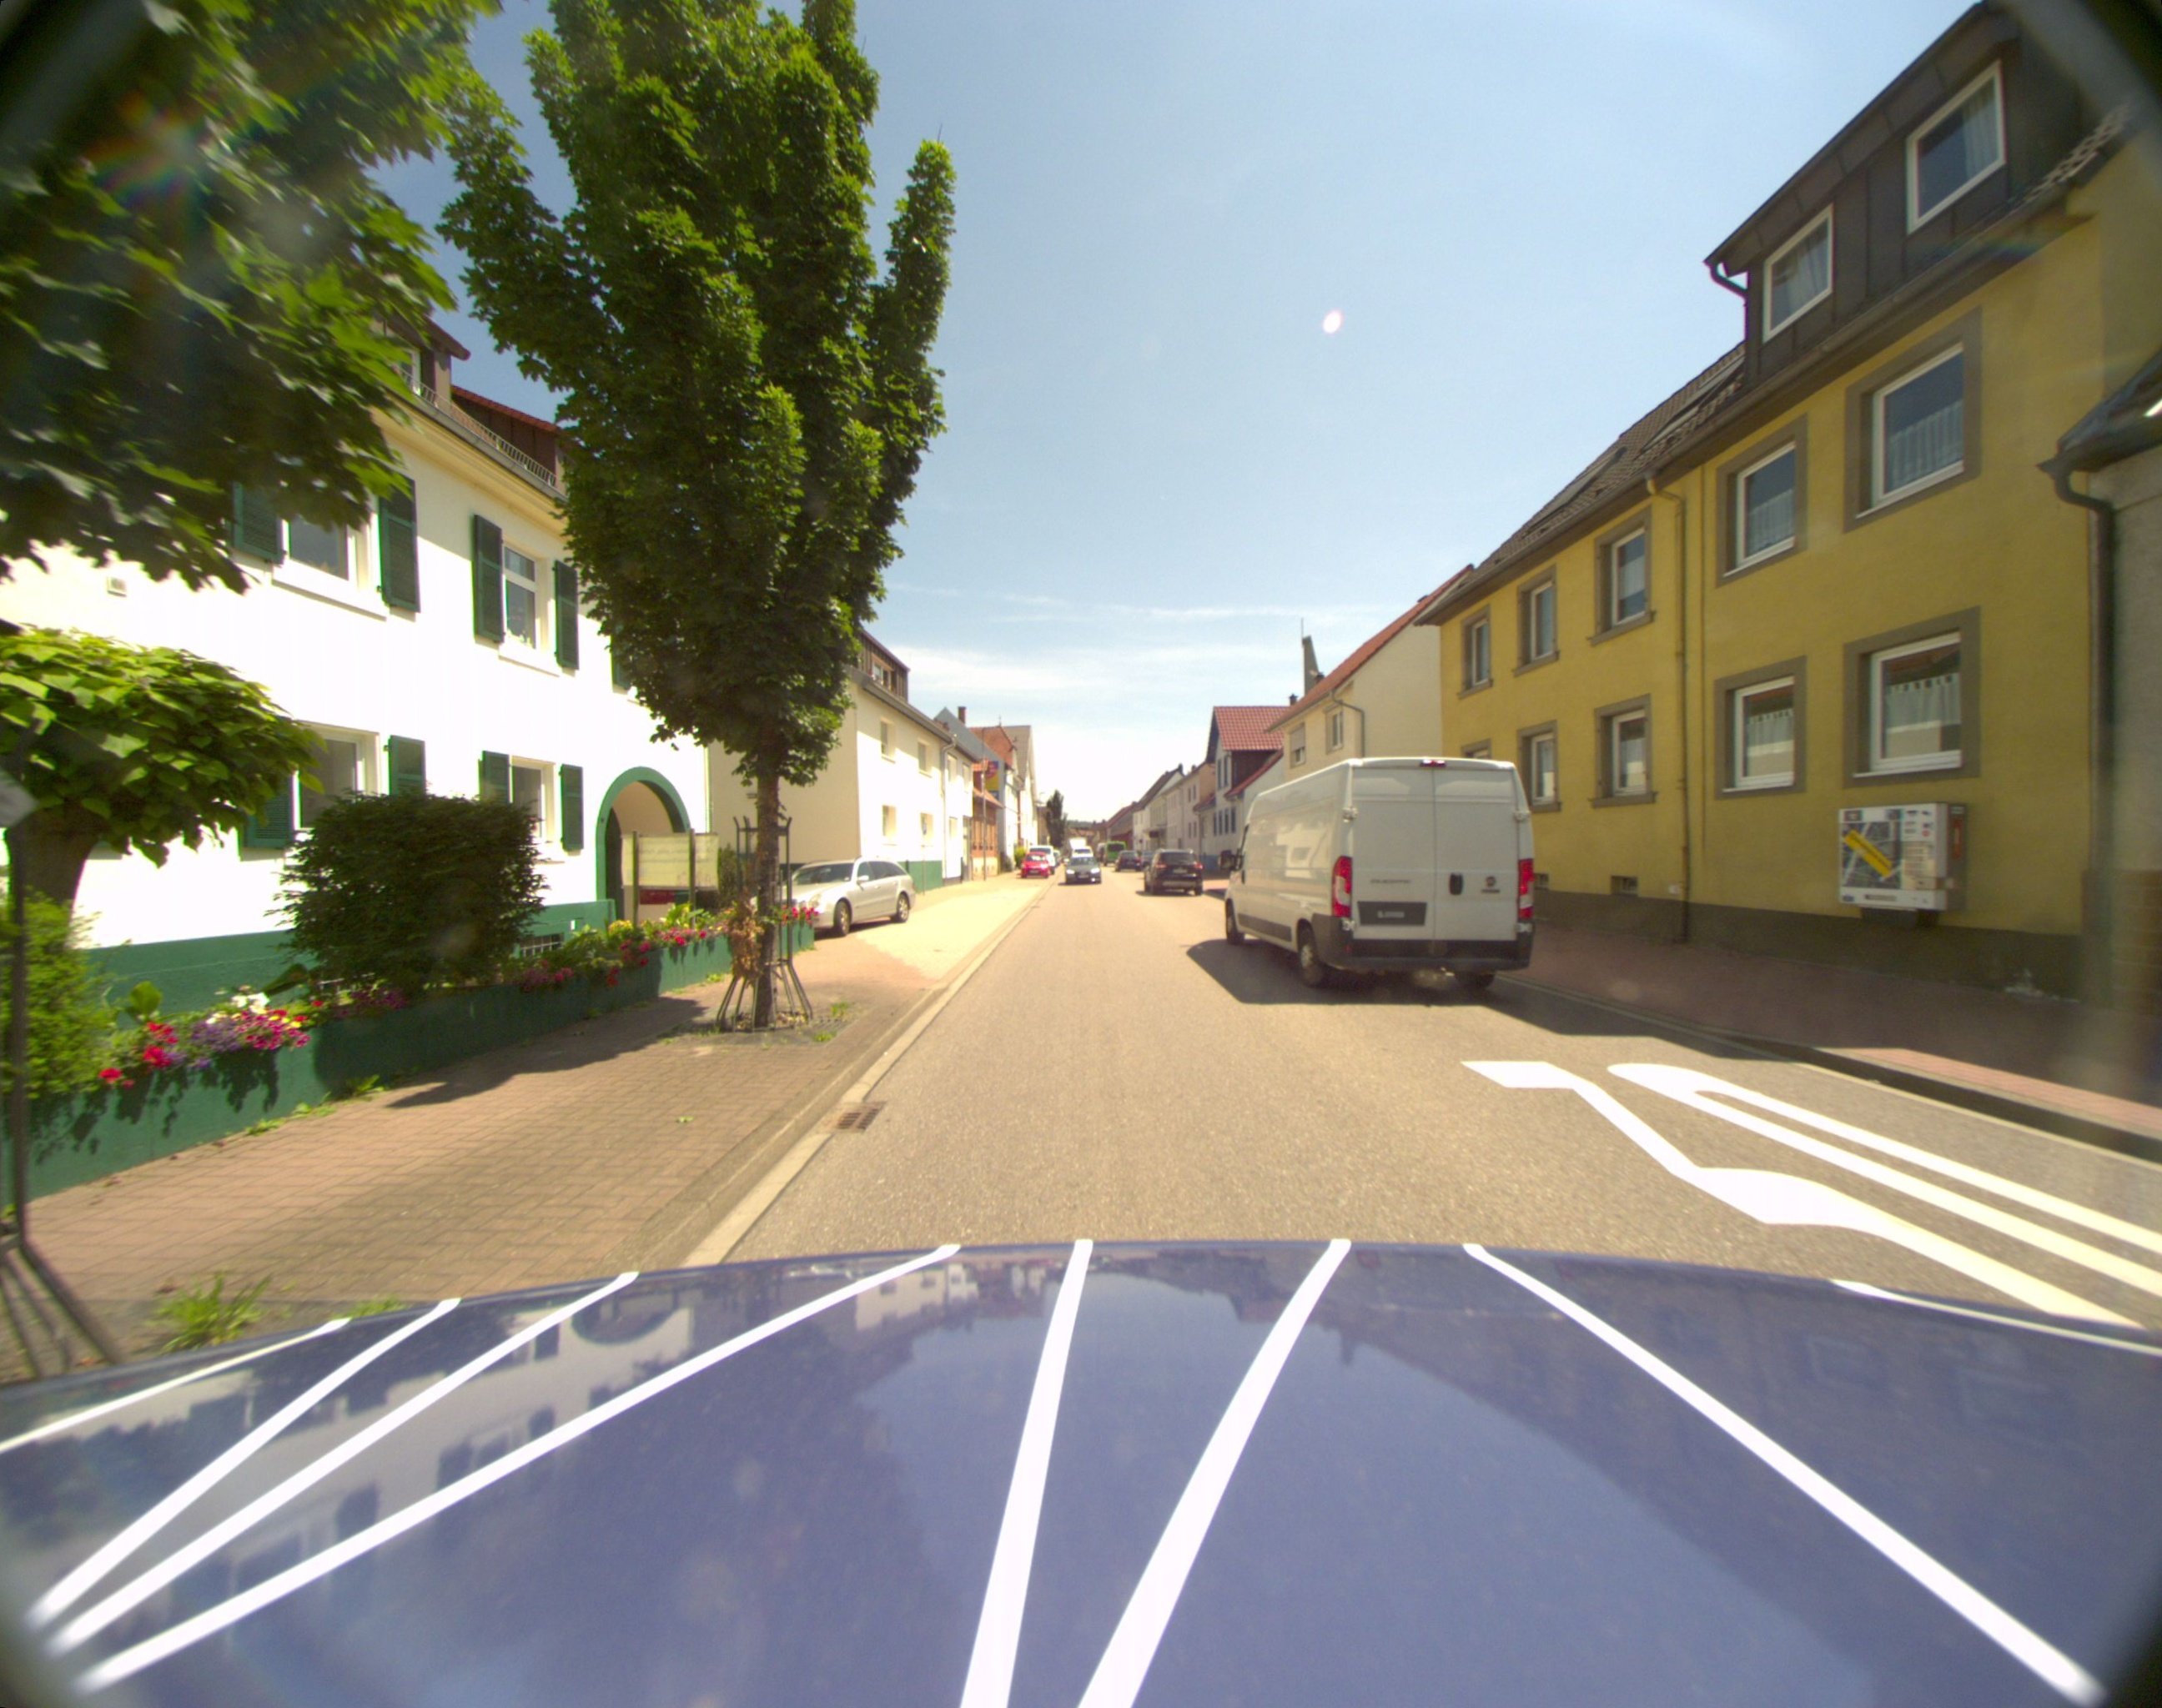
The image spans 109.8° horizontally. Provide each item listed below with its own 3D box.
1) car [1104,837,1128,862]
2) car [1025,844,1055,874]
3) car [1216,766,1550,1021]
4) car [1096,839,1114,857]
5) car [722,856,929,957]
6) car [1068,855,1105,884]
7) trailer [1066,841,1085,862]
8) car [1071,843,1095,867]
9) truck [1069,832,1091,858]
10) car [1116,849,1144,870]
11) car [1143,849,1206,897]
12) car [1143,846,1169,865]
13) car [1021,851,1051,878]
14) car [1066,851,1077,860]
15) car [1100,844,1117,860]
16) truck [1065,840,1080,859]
[{"bbox_3d":[3.374,-0.413,74.396,2.056,2.340,6.081,0,0,0],"label":"car"},{"bbox_3d":[-2.806,0.302,52.912,1.951,1.959,4.783,0,1,-2],"label":"car"},{"bbox_3d":[3.428,0.362,10.291,2.075,2.441,6.006,0,1,-1],"label":"car"},{"bbox_3d":[3.251,-0.813,105.048,2.131,2.527,5.460,0,0,-1],"label":"car"},{"bbox_3d":[-4.875,0.914,15.436,1.818,1.454,4.886,-5,1,9],"label":"car"},{"bbox_3d":[0.255,0.754,38.432,1.786,1.364,3.606,-2,0,0],"label":"car"},{"bbox_3d":[-1.203,-0.614,151.596,2.638,3.956,15.689,0,1,-5],"label":"trailer"},{"bbox_3d":[0.164,0.076,68.552,2.079,1.949,5.518,-2,0,0],"label":"car"},{"bbox_3d":[-0.221,-1.283,107.262,2.867,3.492,8.317,0,0,-2],"label":"truck"},{"bbox_3d":[3.624,0.362,56.530,1.769,1.527,4.077,0,1,0],"label":"car"},{"bbox_3d":[3.446,0.645,28.707,1.844,1.660,4.323,0,0,0],"label":"car"},{"bbox_3d":[6.724,0.128,68.605,1.813,1.548,4.564,-3,1,0],"label":"car"},{"bbox_3d":[-2.670,0.590,45.944,1.614,1.519,3.676,0,1,-1],"label":"car"},{"bbox_3d":[-1.766,0.242,140.131,1.776,1.605,4.189,0,1,-5],"label":"car"},{"bbox_3d":[3.300,-0.238,92.580,1.886,1.932,5.117,0,1,0],"label":"car"},{"bbox_3d":[-1.785,-0.922,158.854,2.626,3.962,6.848,0,1,-5],"label":"truck"}]
